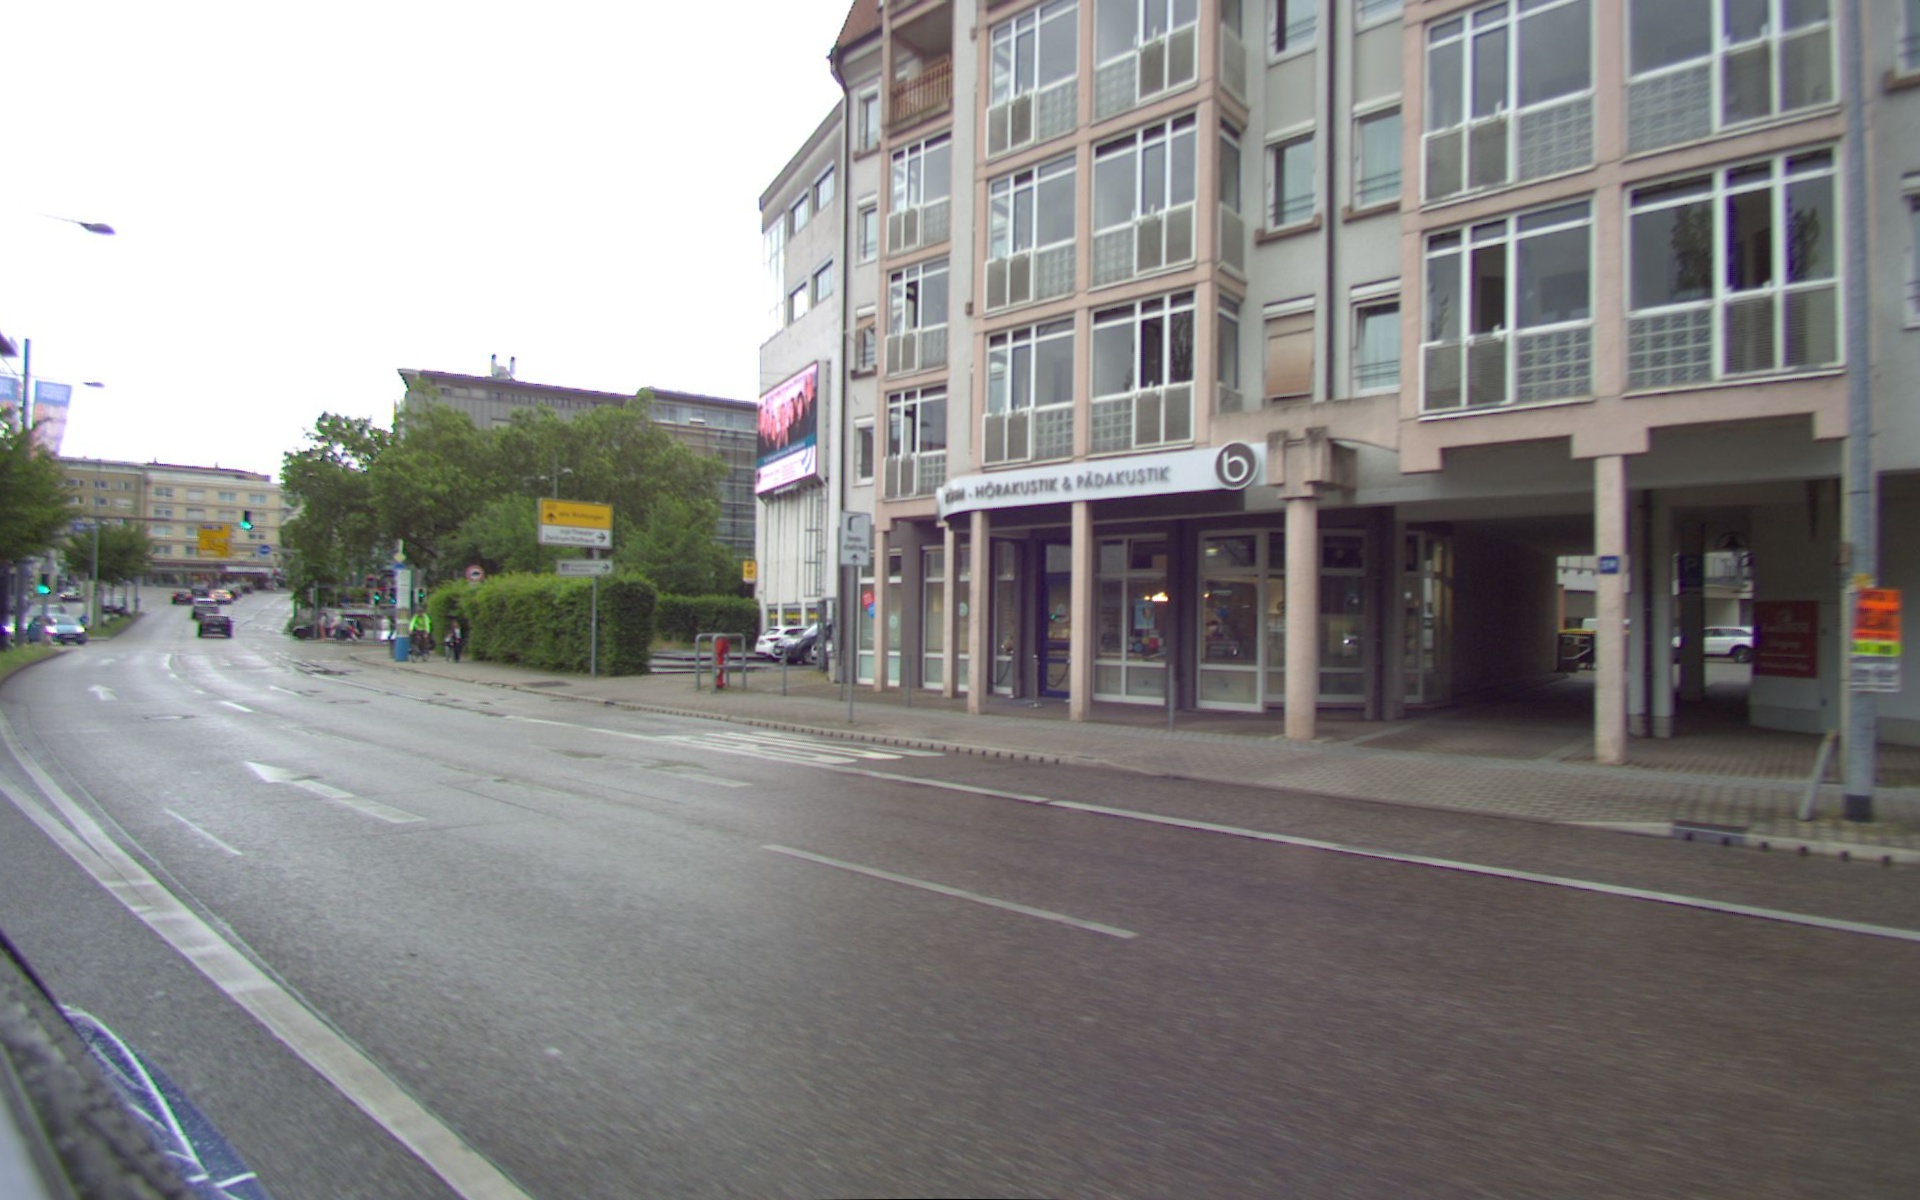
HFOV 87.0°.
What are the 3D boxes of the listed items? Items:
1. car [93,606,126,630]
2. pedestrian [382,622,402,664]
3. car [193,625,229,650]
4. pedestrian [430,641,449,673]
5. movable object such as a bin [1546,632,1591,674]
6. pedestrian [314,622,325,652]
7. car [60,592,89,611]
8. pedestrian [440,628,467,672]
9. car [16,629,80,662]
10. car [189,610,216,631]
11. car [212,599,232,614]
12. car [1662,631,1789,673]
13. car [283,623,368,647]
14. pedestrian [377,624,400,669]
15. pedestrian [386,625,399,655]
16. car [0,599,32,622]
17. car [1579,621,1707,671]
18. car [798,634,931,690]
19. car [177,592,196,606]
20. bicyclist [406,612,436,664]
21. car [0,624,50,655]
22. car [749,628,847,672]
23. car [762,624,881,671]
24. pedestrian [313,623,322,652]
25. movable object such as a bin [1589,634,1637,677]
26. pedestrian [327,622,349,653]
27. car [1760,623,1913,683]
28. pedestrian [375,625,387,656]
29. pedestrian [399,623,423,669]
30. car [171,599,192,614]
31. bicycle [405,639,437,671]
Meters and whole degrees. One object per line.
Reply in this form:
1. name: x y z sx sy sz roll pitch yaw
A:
1. car: -73.494 1.550 87.481 1.803 1.749 4.010 3 0 -35
2. pedestrian: -24.884 1.869 44.339 0.639 1.777 0.593 2 1 -41
3. car: -47.639 2.388 64.349 1.734 1.431 4.106 4 -2 -37
4. pedestrian: -18.693 2.037 36.339 0.502 1.159 0.463 -2 -3 45
5. movable object such as a bin: 20.557 1.798 34.238 1.235 1.366 1.595 0 -3 30
6. pedestrian: -40.192 2.294 63.544 0.441 1.851 0.677 2 1 -41
7. car: -90.534 0.154 103.497 1.803 1.749 4.010 3 0 -35
8. pedestrian: -18.354 1.814 36.678 0.565 1.571 0.706 -2 -3 44
9. car: -44.263 2.186 49.084 3.685 1.485 1.679 -1 -3 38
10. car: -65.043 1.754 86.864 1.803 1.749 4.320 2 -1 -37
11. car: -80.900 0.731 110.914 1.650 1.527 3.651 3 -2 -36
12. car: 34.894 2.345 46.235 1.837 1.796 4.249 0 -2 -35
13. car: -42.060 2.326 67.144 4.360 1.406 1.935 2 -1 -4
14. pedestrian: -22.762 1.856 40.283 0.528 1.778 0.622 -1 -2 40
15. pedestrian: -33.888 2.385 60.414 0.520 1.778 0.594 2 -3 -38
16. car: -78.802 0.863 84.212 1.803 1.749 4.010 3 0 -35
17. car: 29.753 2.003 44.222 1.836 2.029 4.251 3 -3 -30
18. car: -3.166 2.035 33.756 3.931 1.752 1.960 1 -2 -30
19. car: -91.746 -0.140 120.122 1.691 1.490 3.966 4 -2 -37
20. bicyclist: -19.983 1.391 37.519 0.781 1.904 0.955 2 -2 -39
21. car: -49.421 2.061 53.482 1.742 1.420 4.008 0 1 -39
22. car: -6.447 1.943 40.355 3.538 1.587 1.605 0 0 -31
23. car: -5.216 1.734 38.029 3.992 1.587 1.961 0 0 -27
24. pedestrian: -40.791 2.381 64.266 0.406 1.777 0.678 2 -3 -38
25. movable object such as a bin: 21.645 1.827 33.591 1.235 1.366 1.595 0 -3 30
26. pedestrian: -38.563 2.307 62.712 0.824 1.921 0.852 0 -1 29
27. car: 31.229 1.856 36.121 4.001 2.029 1.841 -2 -4 44
28. pedestrian: -34.204 2.396 59.784 0.520 1.777 0.594 -2 2 -38
29. pedestrian: -21.275 1.765 39.203 0.643 1.778 0.585 -1 -2 39
30. car: -81.094 0.684 105.391 1.602 1.567 3.667 2 -2 -38
31. bicycle: -20.049 2.044 37.615 0.642 1.119 2.062 2 -2 -39
